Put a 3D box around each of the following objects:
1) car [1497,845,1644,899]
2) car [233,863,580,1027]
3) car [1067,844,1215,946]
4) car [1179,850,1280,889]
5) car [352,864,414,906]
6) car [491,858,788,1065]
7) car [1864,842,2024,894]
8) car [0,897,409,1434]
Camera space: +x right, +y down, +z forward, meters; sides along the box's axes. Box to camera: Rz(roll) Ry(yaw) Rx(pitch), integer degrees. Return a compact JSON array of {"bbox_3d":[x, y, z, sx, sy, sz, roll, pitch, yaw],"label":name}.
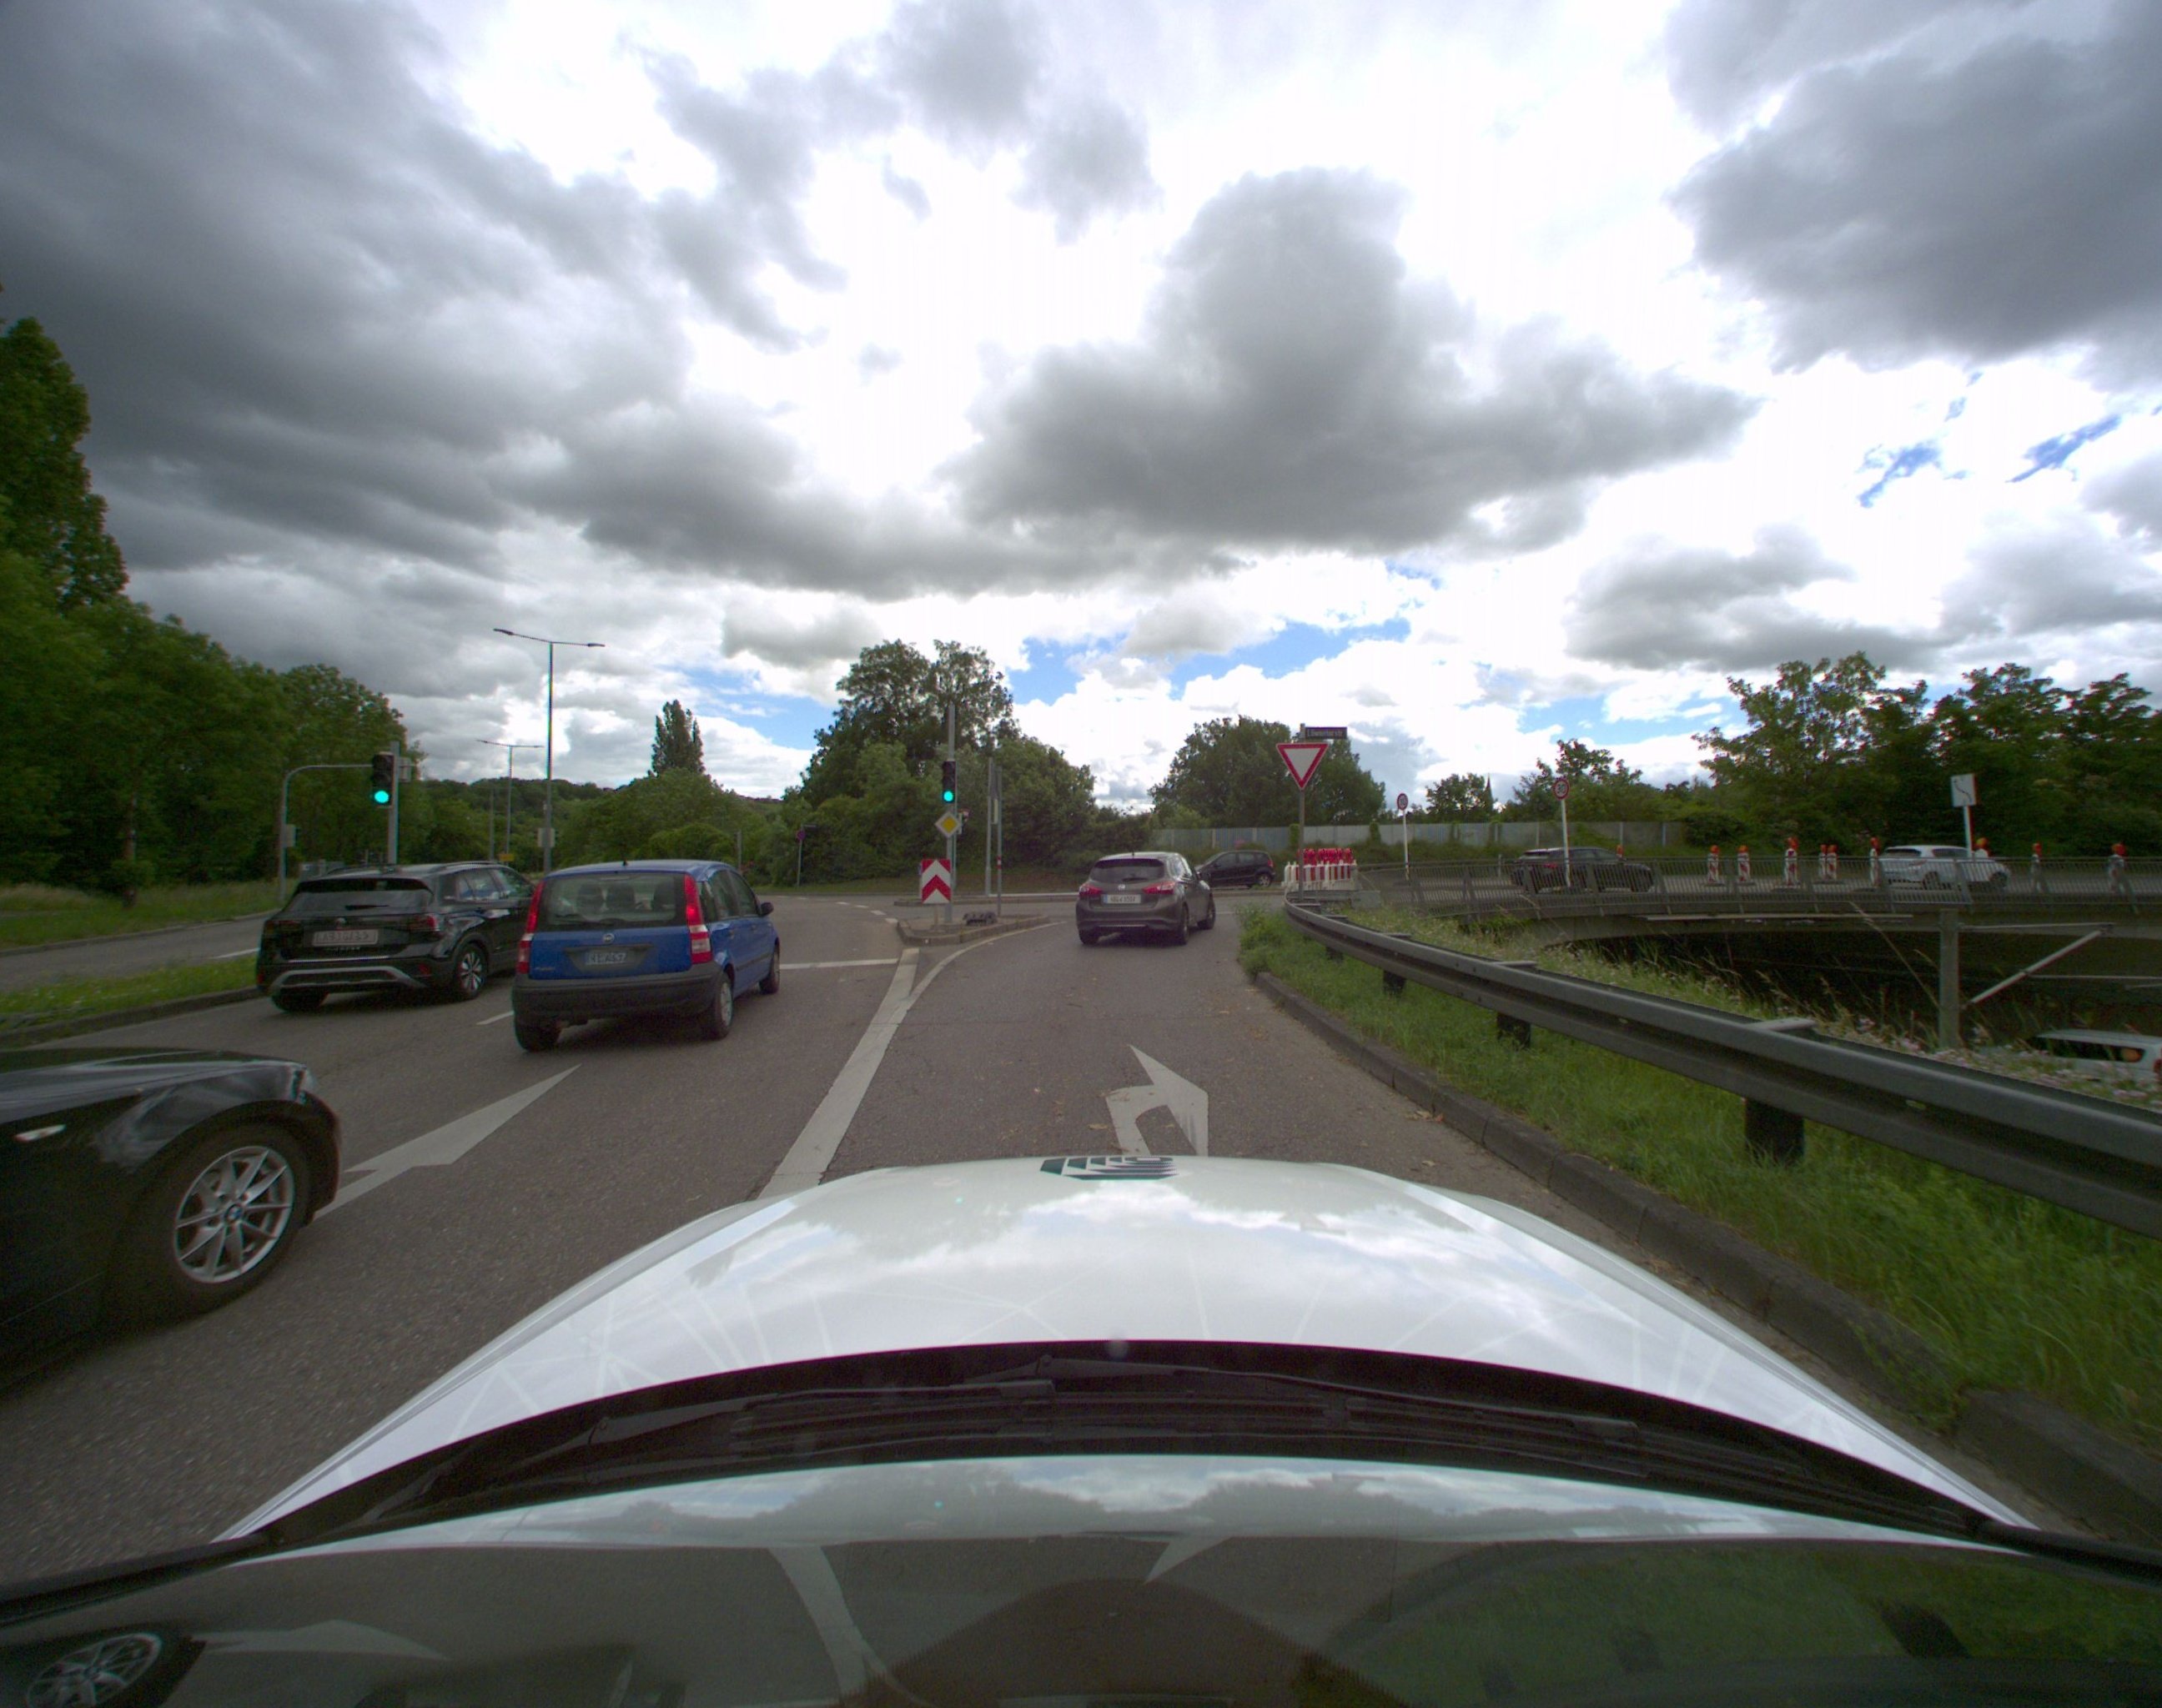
[{"bbox_3d":[15.439,0.549,25.738,3.780,1.552,1.817,2,0,-13],"label":"car"},{"bbox_3d":[-7.848,0.911,9.996,1.657,1.507,3.755,-2,0,-12],"label":"car"},{"bbox_3d":[1.225,0.642,14.628,1.784,1.552,4.018,-1,0,17],"label":"car"},{"bbox_3d":[6.090,0.636,33.656,3.772,1.552,1.639,0,-2,-7],"label":"car"},{"bbox_3d":[-34.548,1.504,40.392,2.093,1.759,4.274,2,1,-38],"label":"car"},{"bbox_3d":[-3.949,0.812,7.895,1.544,1.507,3.368,-1,0,-11],"label":"car"},{"bbox_3d":[29.474,0.471,27.867,3.981,1.675,1.714,1,-1,-6],"label":"car"},{"bbox_3d":[-3.716,0.912,1.482,1.558,1.368,4.083,-2,0,0],"label":"car"}]
